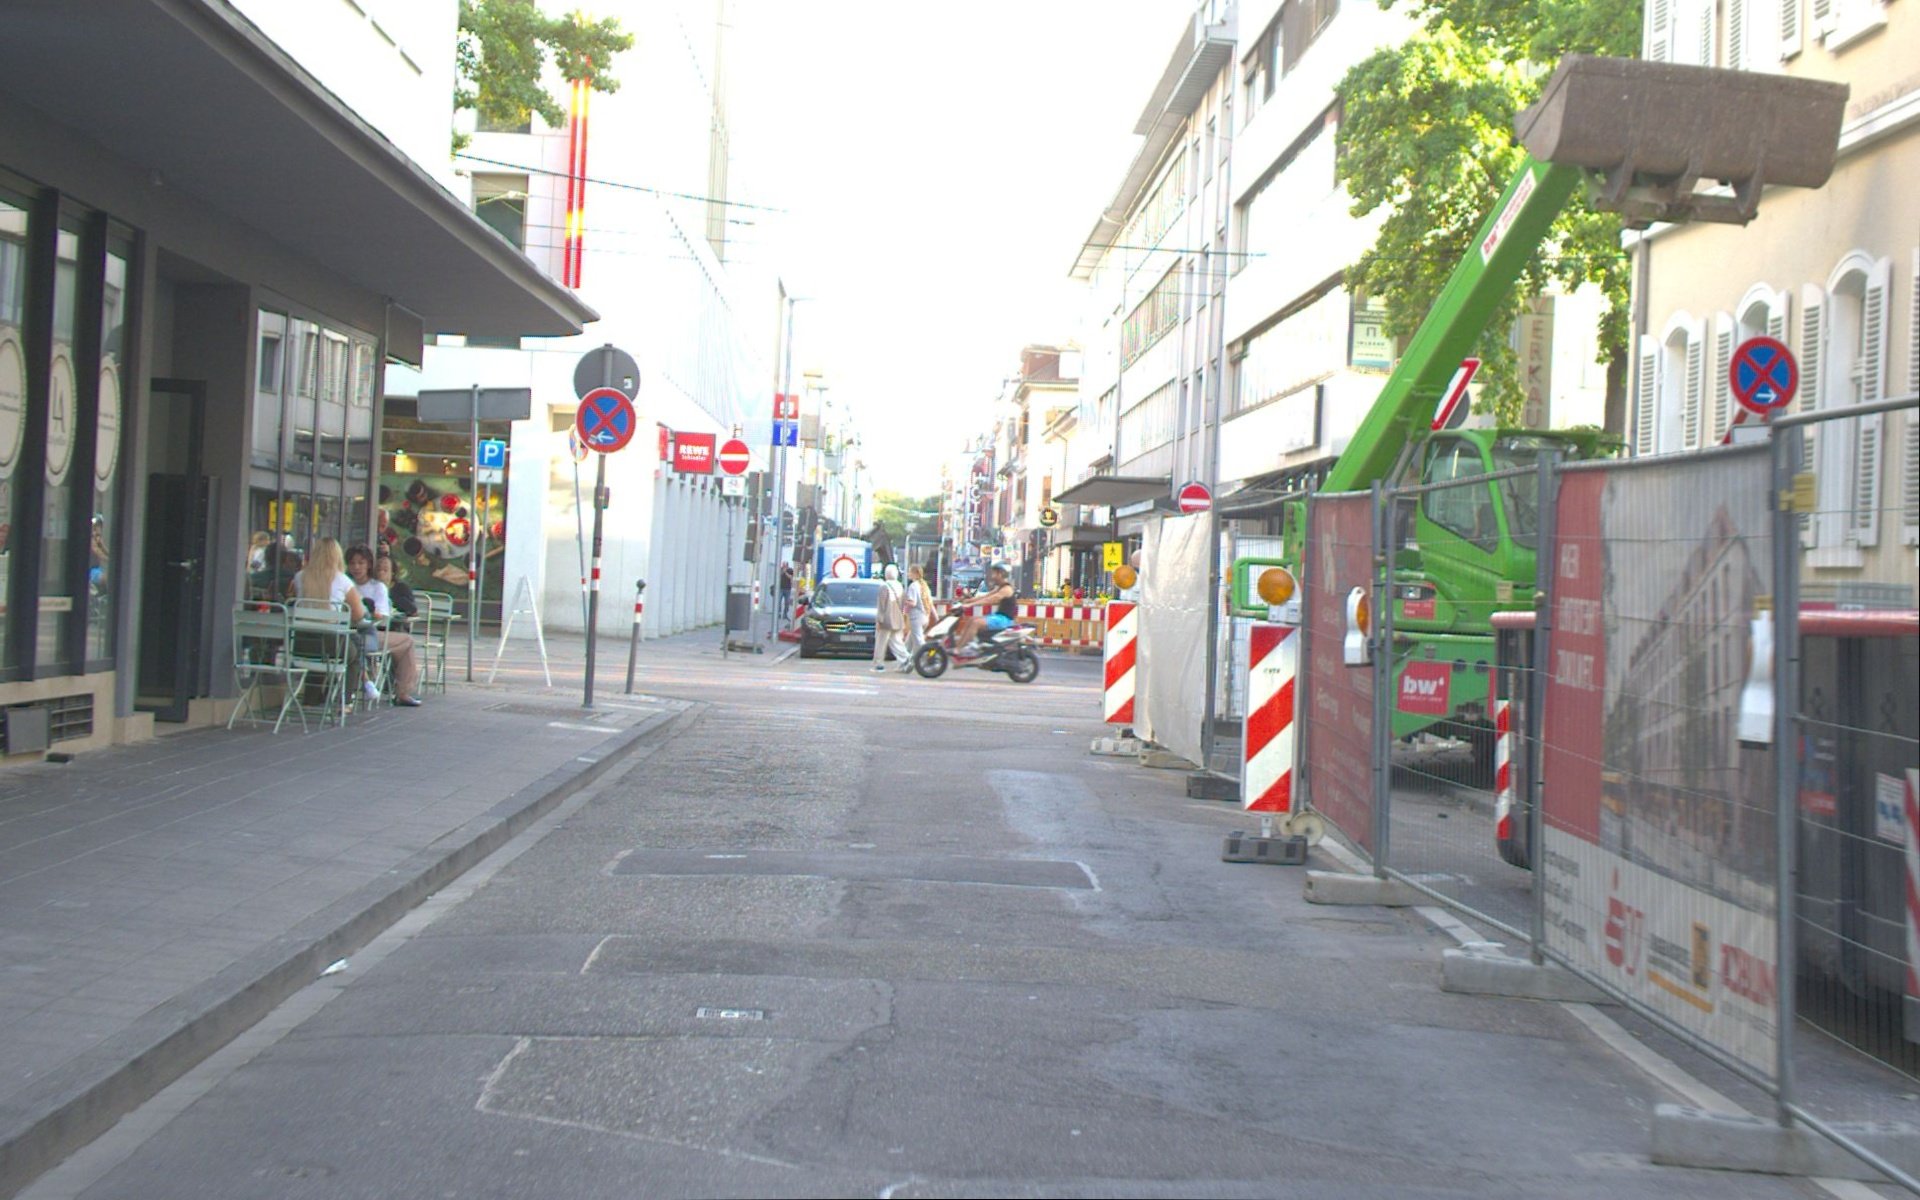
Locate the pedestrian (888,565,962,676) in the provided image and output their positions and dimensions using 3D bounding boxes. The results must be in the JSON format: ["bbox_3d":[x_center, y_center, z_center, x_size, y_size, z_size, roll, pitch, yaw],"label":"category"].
[{"bbox_3d":[-0.523,0.305,51.125,0.610,1.622,0.872,2,0,-43],"label":"pedestrian"}]

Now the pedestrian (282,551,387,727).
[{"bbox_3d":[-4.705,0.286,25.898,0.573,1.271,0.713,5,0,-1],"label":"pedestrian"}]

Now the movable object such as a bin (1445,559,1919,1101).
[{"bbox_3d":[4.073,0.739,14.198,2.735,1.633,7.553,4,0,-2],"label":"movable object such as a bin"}]

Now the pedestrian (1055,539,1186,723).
[{"bbox_3d":[1.639,0.317,35.145,1.071,1.829,0.698,2,0,-21],"label":"pedestrian"}]

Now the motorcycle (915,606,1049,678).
[{"bbox_3d":[0.307,0.582,48.090,1.753,0.916,0.642,3,0,-11],"label":"motorcycle"}]

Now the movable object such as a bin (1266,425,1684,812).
[{"bbox_3d":[4.083,0.118,28.169,2.605,2.829,4.450,2,0,-1],"label":"movable object such as a bin"}]

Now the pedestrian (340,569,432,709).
[{"bbox_3d":[-4.795,0.319,28.762,0.573,1.110,0.713,5,1,-1],"label":"pedestrian"}]

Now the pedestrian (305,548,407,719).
[{"bbox_3d":[-4.707,0.253,26.823,0.573,1.271,0.713,5,0,-1],"label":"pedestrian"}]

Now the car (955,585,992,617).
[{"bbox_3d":[0.788,0.055,201.160,1.993,1.770,4.000,2,0,-1],"label":"car"}]

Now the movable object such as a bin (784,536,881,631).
[{"bbox_3d":[-2.835,-0.368,77.114,1.993,2.007,4.000,2,0,0],"label":"movable object such as a bin"}]

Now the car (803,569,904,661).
[{"bbox_3d":[-1.940,0.252,61.963,1.629,1.545,3.143,2,1,-4],"label":"car"}]

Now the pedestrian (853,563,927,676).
[{"bbox_3d":[-1.029,0.290,50.735,0.610,1.622,0.872,2,0,-43],"label":"pedestrian"}]

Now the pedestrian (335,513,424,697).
[{"bbox_3d":[-5.405,0.049,32.036,0.505,1.662,0.687,4,0,8],"label":"pedestrian"}]

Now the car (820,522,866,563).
[{"bbox_3d":[-5.326,-2.605,156.925,1.993,1.770,4.000,2,0,-1],"label":"car"}]

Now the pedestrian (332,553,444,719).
[{"bbox_3d":[-4.622,0.281,27.823,0.702,1.271,0.713,5,0,-1],"label":"pedestrian"}]

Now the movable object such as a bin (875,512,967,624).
[{"bbox_3d":[-1.013,-0.810,87.373,2.156,2.654,4.573,3,0,-1],"label":"movable object such as a bin"}]

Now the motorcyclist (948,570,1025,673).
[{"bbox_3d":[0.366,0.300,48.095,0.894,1.384,0.672,3,0,-11],"label":"motorcyclist"}]
